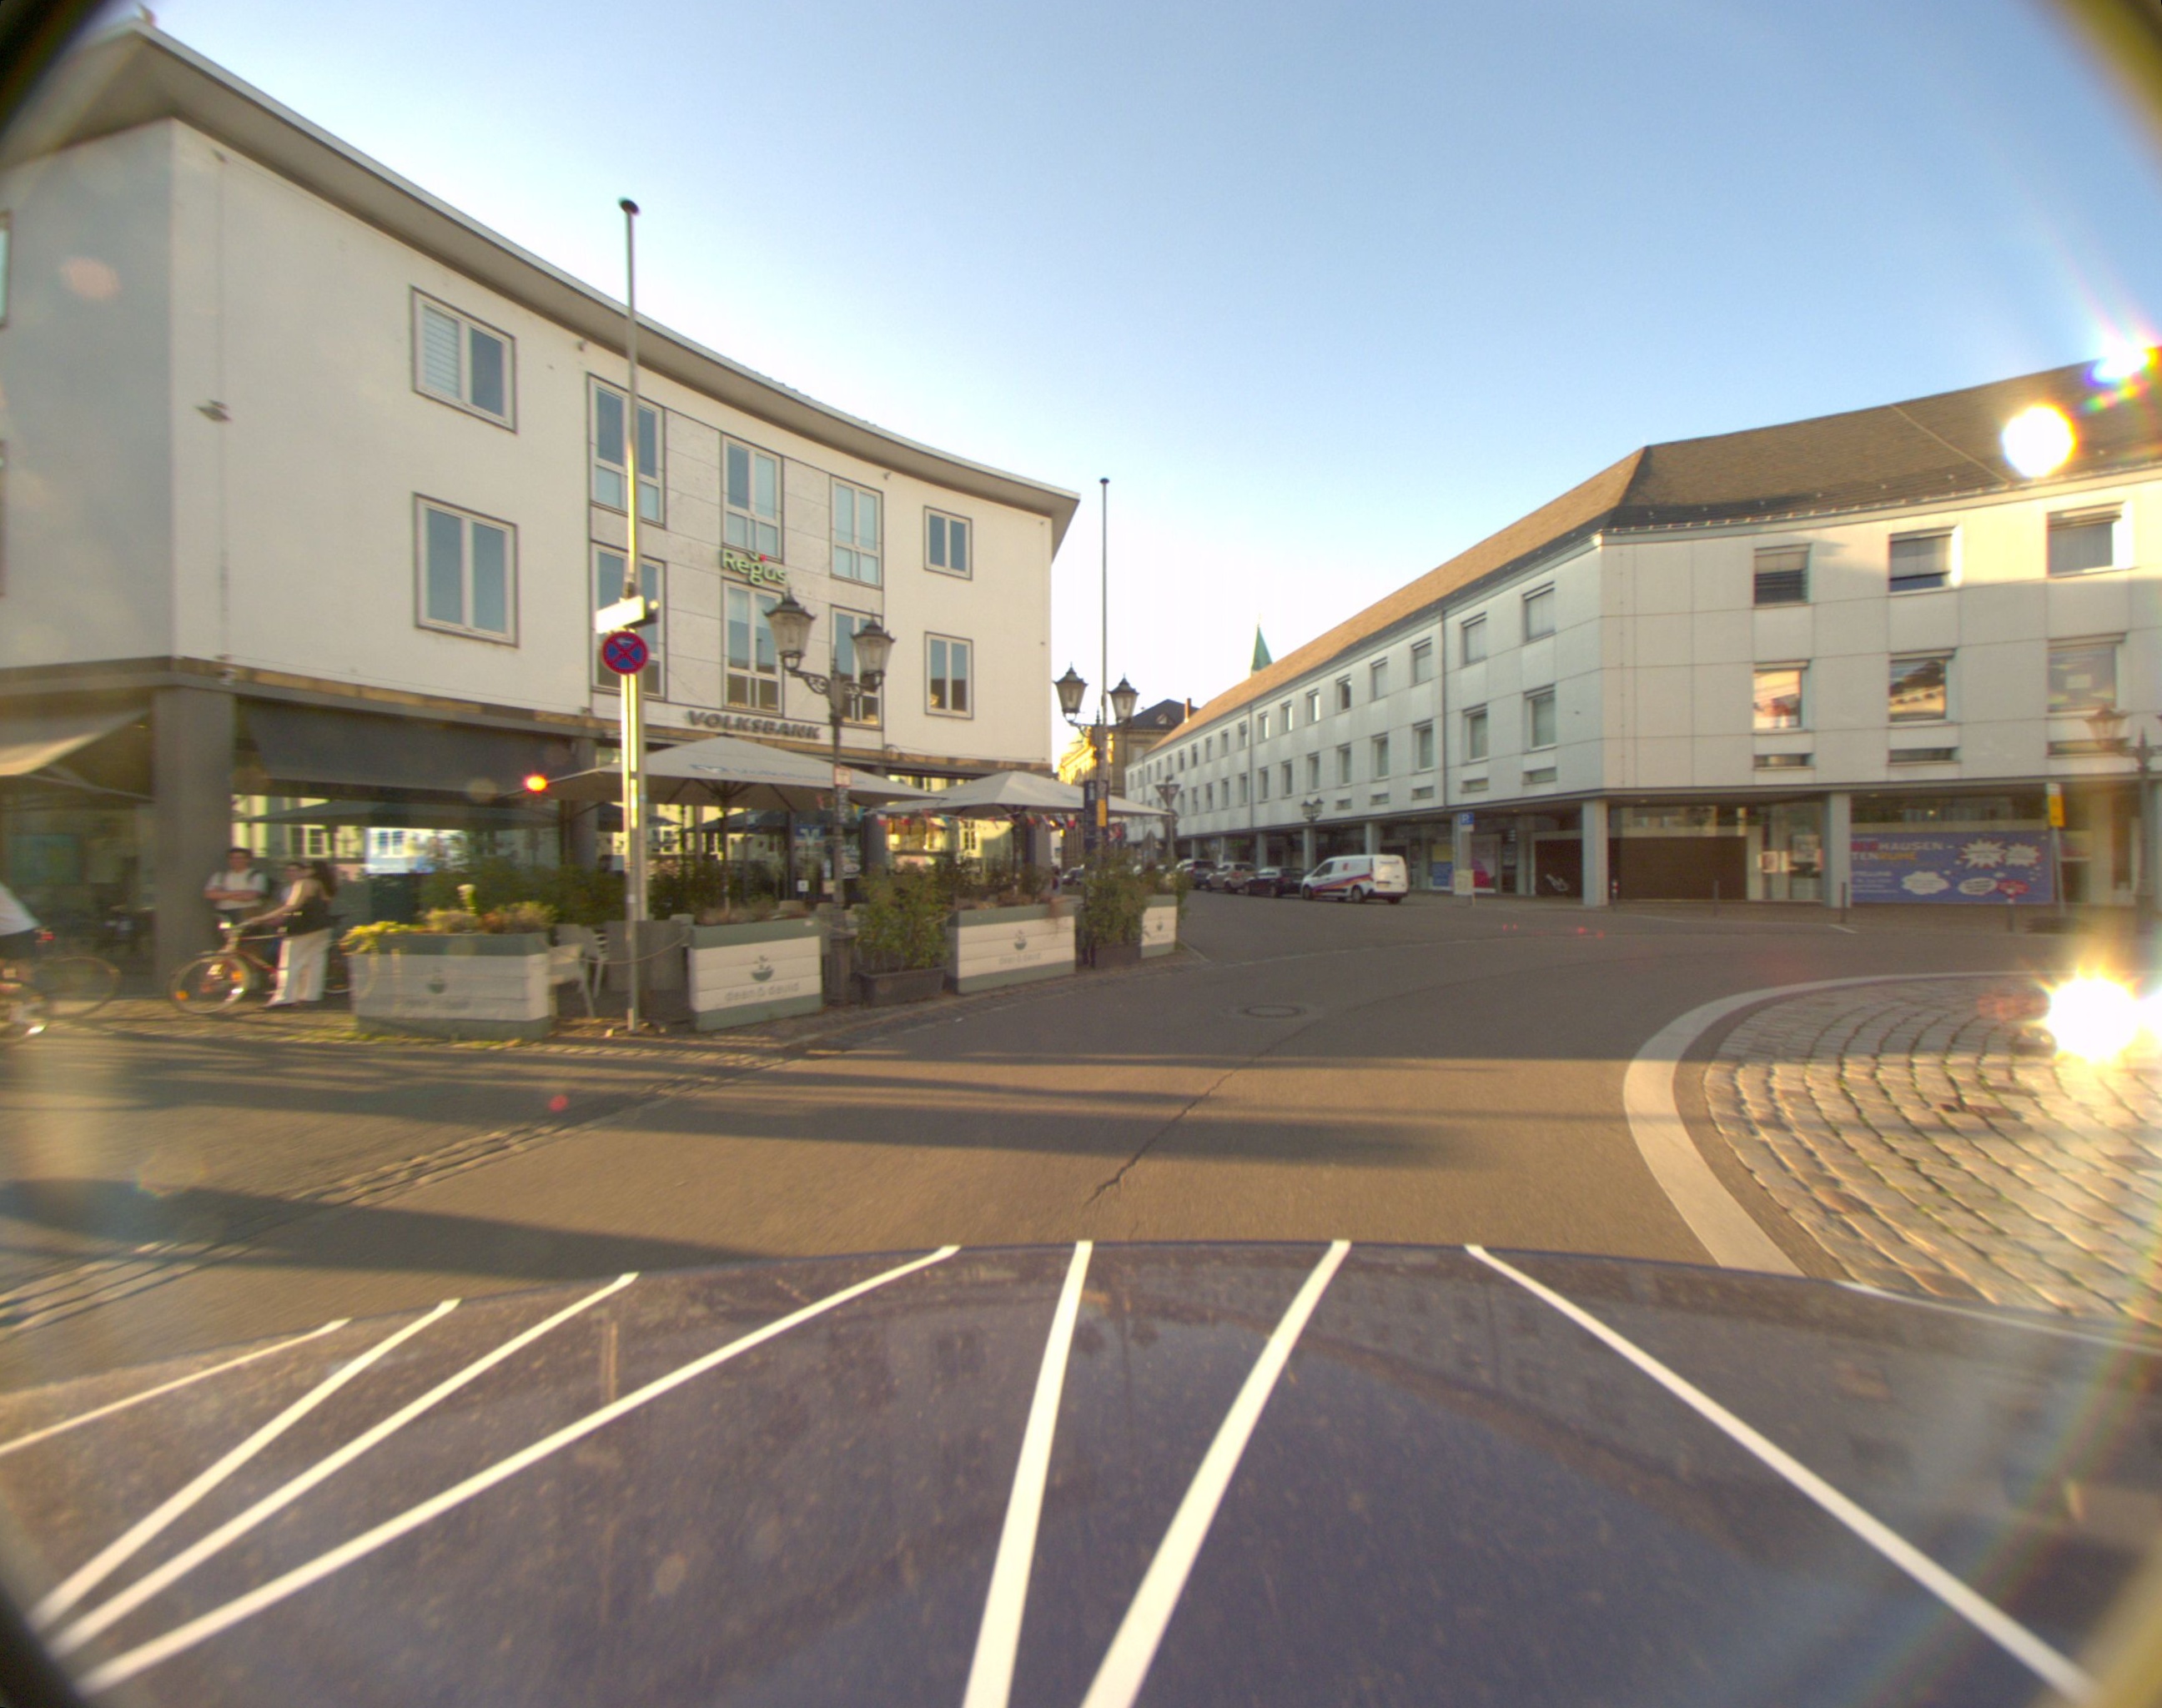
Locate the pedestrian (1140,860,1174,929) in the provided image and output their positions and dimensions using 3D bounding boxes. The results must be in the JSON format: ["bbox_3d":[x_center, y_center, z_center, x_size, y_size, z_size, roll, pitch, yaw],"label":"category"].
[{"bbox_3d":[1.883,0.990,18.982,0.604,1.690,0.712,0,0,-17],"label":"pedestrian"}]

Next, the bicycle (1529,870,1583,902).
[{"bbox_3d":[17.874,1.190,28.639,0.481,1.149,1.947,0,0,-12],"label":"bicycle"}]

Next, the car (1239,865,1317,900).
[{"bbox_3d":[8.805,1.249,34.321,1.783,1.416,3.956,0,0,-13],"label":"car"}]

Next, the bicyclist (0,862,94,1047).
[{"bbox_3d":[-10.416,0.947,7.428,0.482,1.733,0.834,-1,0,-9],"label":"bicyclist"}]

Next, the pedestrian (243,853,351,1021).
[{"bbox_3d":[-8.871,0.901,8.624,0.509,1.807,0.718,-1,0,-10],"label":"pedestrian"}]

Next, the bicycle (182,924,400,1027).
[{"bbox_3d":[-9.063,1.354,8.806,0.473,0.928,1.680,0,0,25],"label":"bicycle"}]

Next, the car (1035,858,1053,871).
[{"bbox_3d":[-5.091,1.424,104.353,1.783,1.657,4.324,0,0,-11],"label":"car"}]

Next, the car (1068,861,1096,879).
[{"bbox_3d":[0.094,1.522,74.063,1.783,1.657,4.323,0,0,-13],"label":"car"}]

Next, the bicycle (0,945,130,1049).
[{"bbox_3d":[-10.409,1.401,7.441,0.482,0.843,1.482,0,0,-9],"label":"bicycle"}]

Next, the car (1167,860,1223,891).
[{"bbox_3d":[6.658,1.226,44.769,1.783,1.718,4.323,0,0,-13],"label":"car"}]

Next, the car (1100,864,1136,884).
[{"bbox_3d":[2.941,1.556,61.170,1.783,1.483,4.323,0,0,-13],"label":"car"}]

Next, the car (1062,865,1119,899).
[{"bbox_3d":[0.377,1.233,35.096,1.783,1.416,3.957,0,0,-12],"label":"car"}]

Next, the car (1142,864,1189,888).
[{"bbox_3d":[5.572,1.433,50.756,1.783,1.483,4.323,0,0,-13],"label":"car"}]

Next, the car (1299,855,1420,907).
[{"bbox_3d":[10.548,0.980,29.168,2.023,1.815,4.453,0,0,-18],"label":"car"}]

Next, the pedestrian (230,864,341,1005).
[{"bbox_3d":[-9.834,0.963,9.422,0.620,1.666,0.733,-1,0,-10],"label":"pedestrian"}]

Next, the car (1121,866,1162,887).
[{"bbox_3d":[4.380,1.613,55.654,1.783,1.483,4.323,0,0,-13],"label":"car"}]

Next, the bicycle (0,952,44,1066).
[{"bbox_3d":[-9.760,1.355,6.066,0.473,0.928,1.680,0,0,25],"label":"bicycle"}]

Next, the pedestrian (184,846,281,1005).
[{"bbox_3d":[-10.582,0.867,9.495,0.581,1.912,0.542,-1,0,-10],"label":"pedestrian"}]

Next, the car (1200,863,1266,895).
[{"bbox_3d":[7.715,1.229,38.935,1.783,1.506,3.956,0,0,-13],"label":"car"}]
